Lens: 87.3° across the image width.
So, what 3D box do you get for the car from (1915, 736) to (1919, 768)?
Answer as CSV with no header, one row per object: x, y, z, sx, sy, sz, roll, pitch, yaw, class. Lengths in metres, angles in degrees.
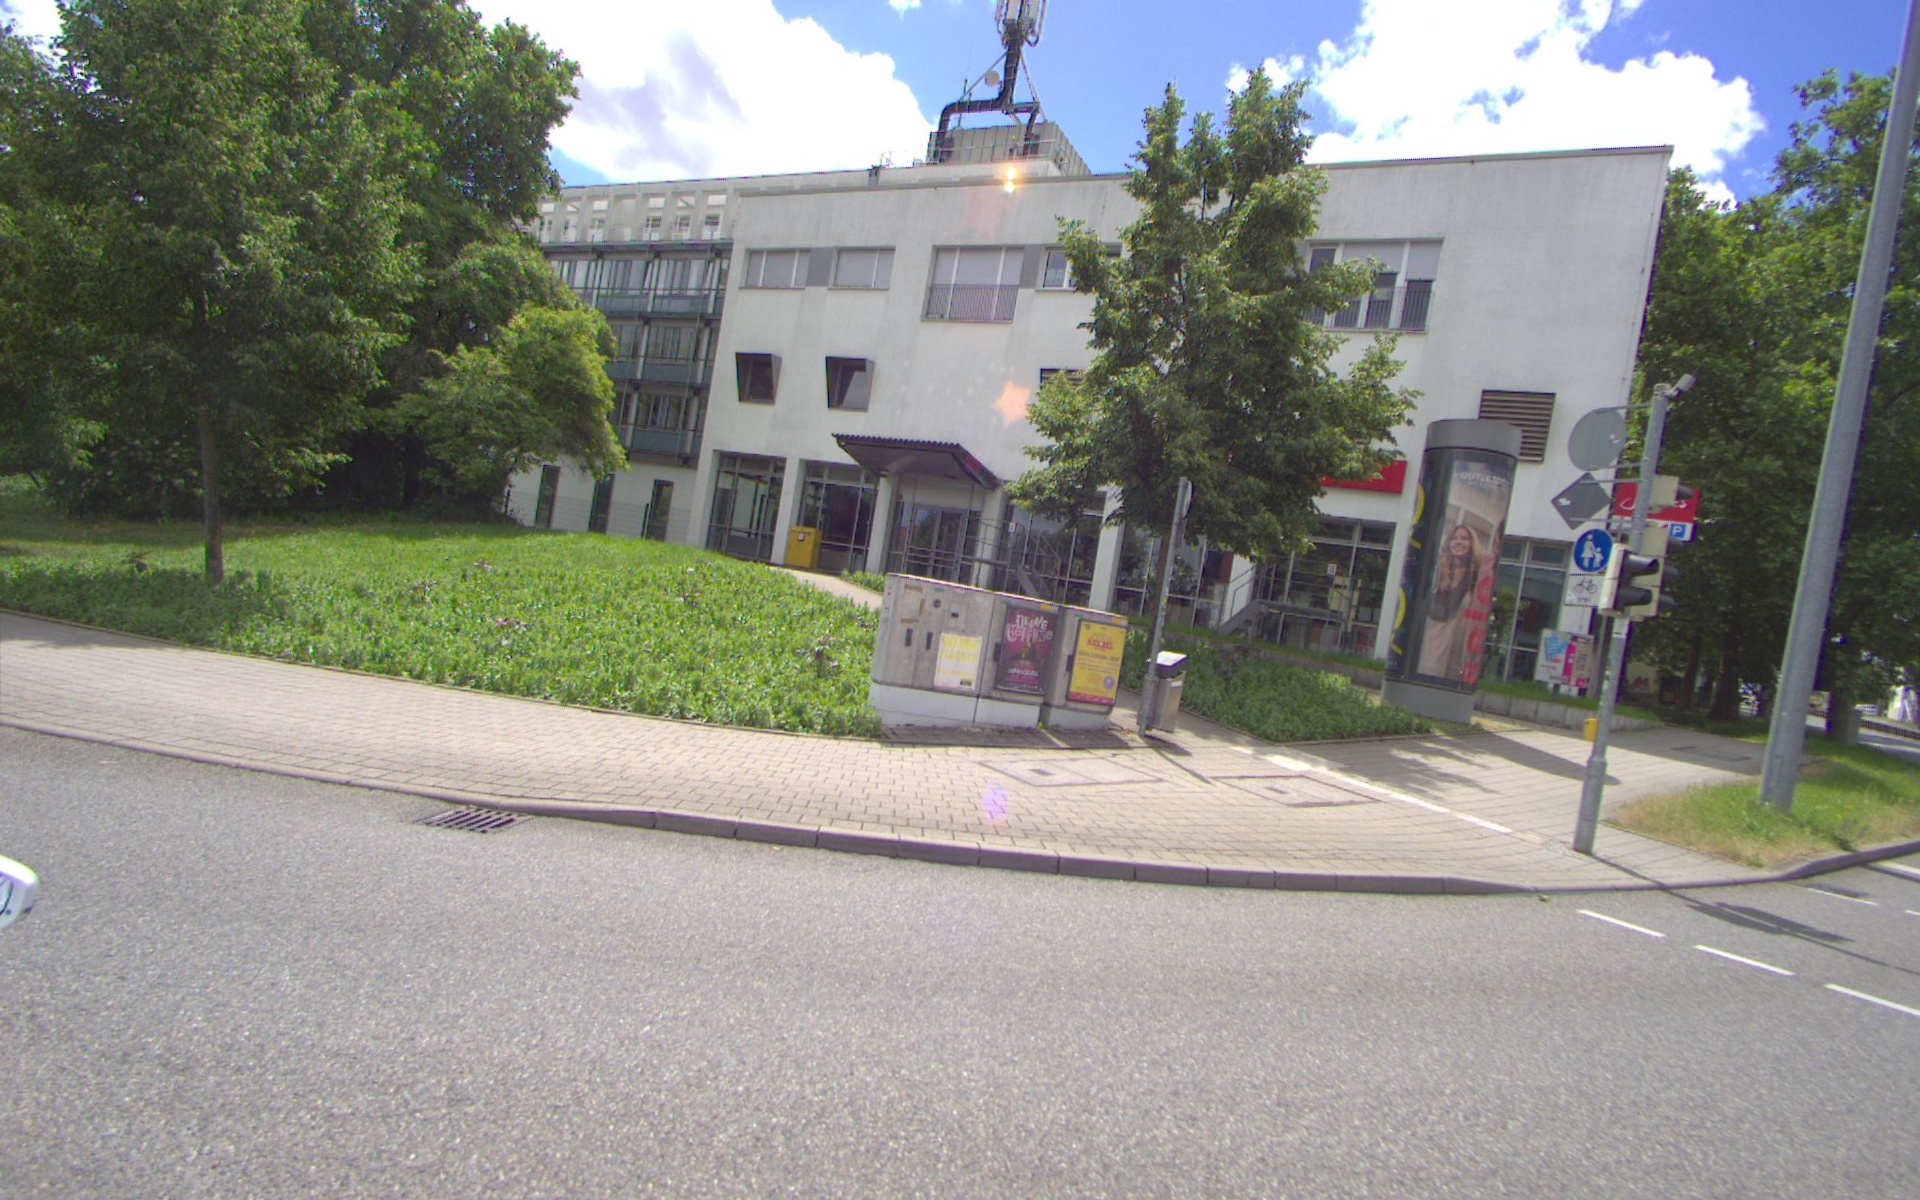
30.672,4.541,30.309,1.968,1.638,3.989,8,0,35,car
